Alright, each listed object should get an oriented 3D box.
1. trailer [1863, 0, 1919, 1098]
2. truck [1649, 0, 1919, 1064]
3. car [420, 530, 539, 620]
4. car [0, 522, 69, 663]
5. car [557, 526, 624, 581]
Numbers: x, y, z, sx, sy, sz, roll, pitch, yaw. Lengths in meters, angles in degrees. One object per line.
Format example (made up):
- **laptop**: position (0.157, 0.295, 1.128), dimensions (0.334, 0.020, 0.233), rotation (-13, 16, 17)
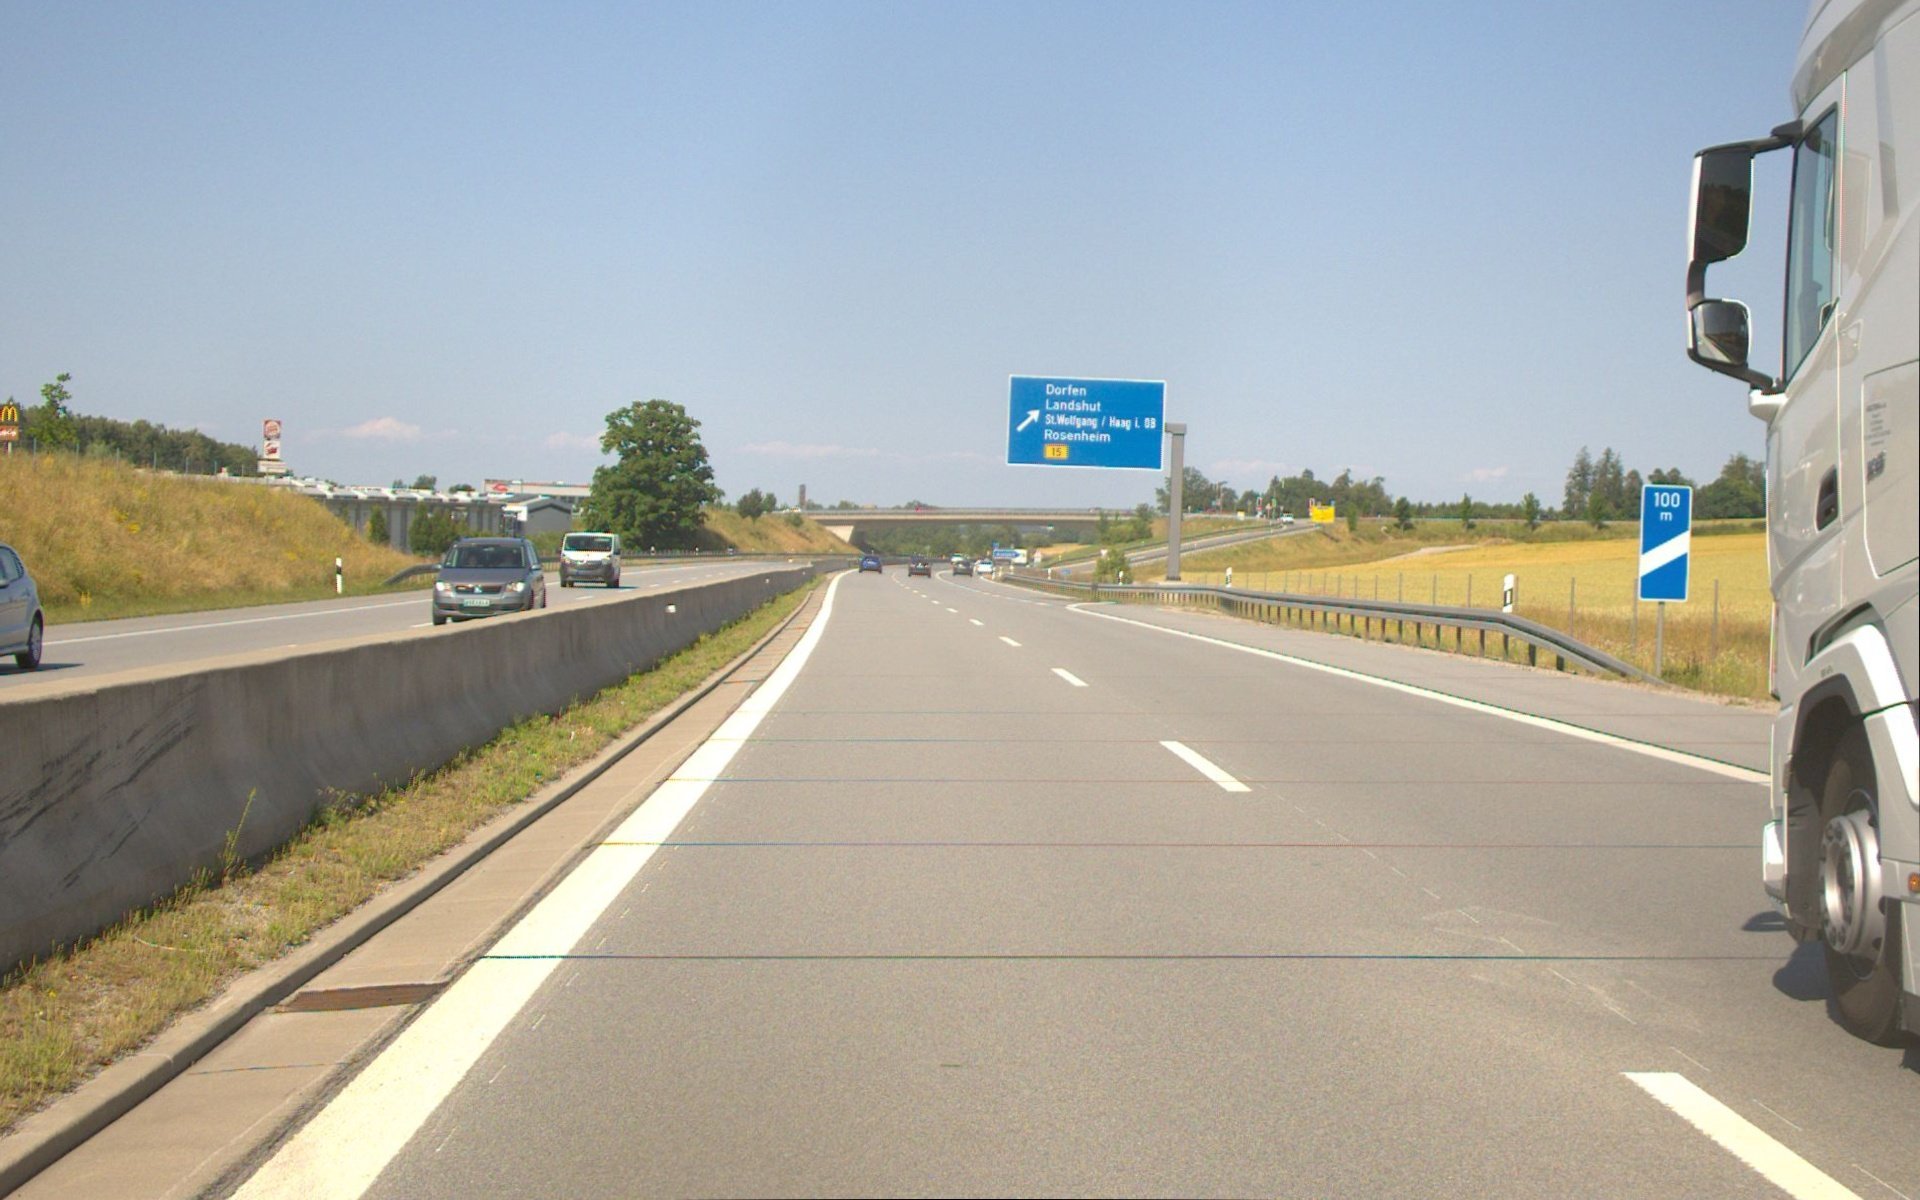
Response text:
- **trailer**: position (4.265, -0.657, 2.201), dimensions (3.176, 4.279, 15.461), rotation (0, 1, 0)
- **truck**: position (4.179, -0.725, 9.724), dimensions (3.082, 4.000, 6.189), rotation (0, 1, -1)
- **car**: position (-8.797, -0.476, 63.247), dimensions (1.879, 1.570, 4.566), rotation (1, 1, -5)
- **car**: position (-11.161, -0.082, 37.379), dimensions (1.879, 1.497, 4.566), rotation (-1, 1, -2)
- **car**: position (-13.288, -1.685, 123.799), dimensions (2.233, 1.928, 5.796), rotation (1, 1, -5)
